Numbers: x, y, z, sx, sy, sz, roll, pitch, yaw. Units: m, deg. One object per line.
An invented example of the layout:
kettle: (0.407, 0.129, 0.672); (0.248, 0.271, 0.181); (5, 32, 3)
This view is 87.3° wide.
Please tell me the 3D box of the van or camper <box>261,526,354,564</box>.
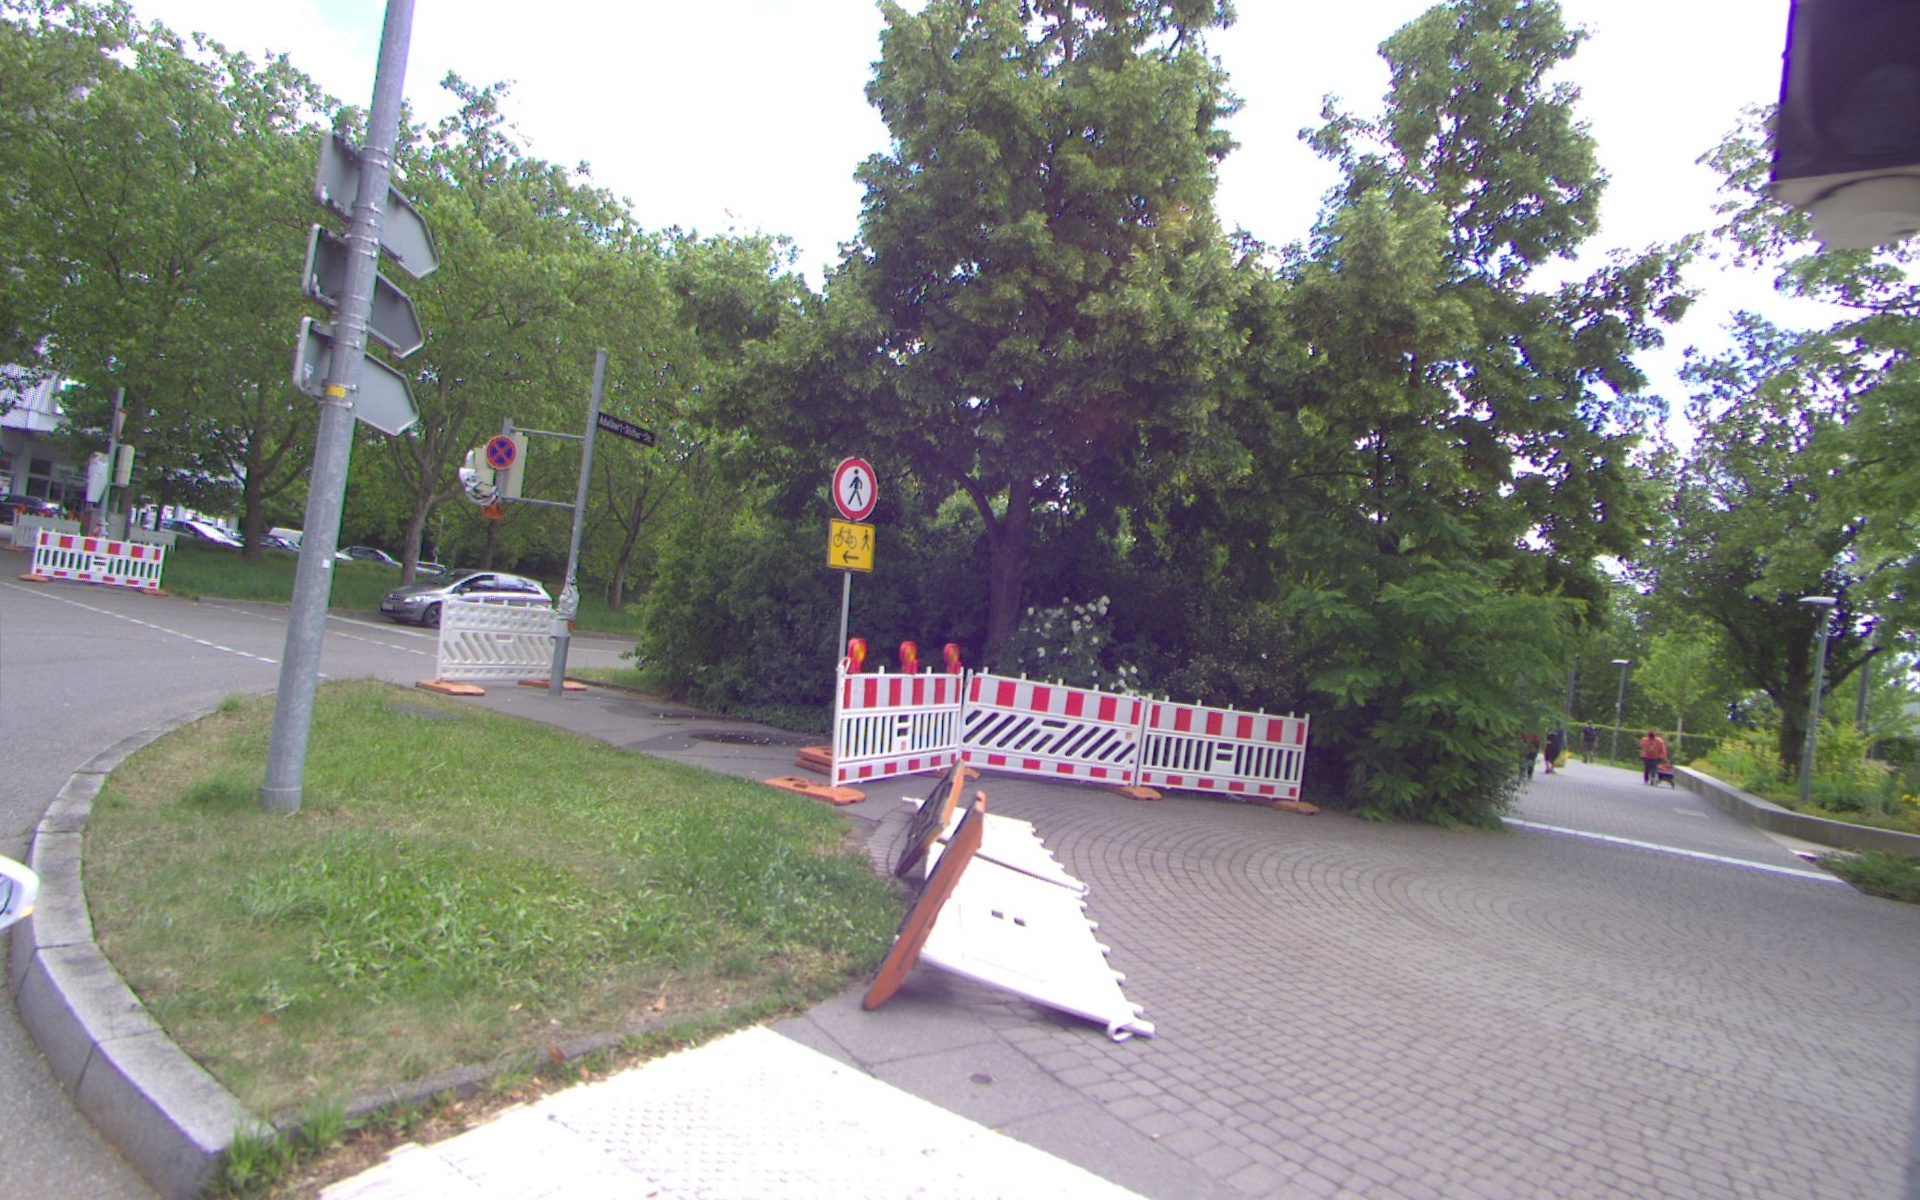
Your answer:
van or camper: (-34.070, -2.879, 52.578); (3.705, 1.372, 1.519); (7, -2, 0)

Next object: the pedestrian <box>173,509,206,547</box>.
pedestrian: (-35.630, -3.325, 46.514); (0.785, 1.604, 0.796); (6, -2, 25)

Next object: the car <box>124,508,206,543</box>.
car: (-44.836, -4.214, 56.787); (3.344, 1.420, 1.486); (7, -2, 3)

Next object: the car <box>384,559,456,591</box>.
car: (-35.357, -1.616, 65.879); (3.673, 1.517, 1.736); (7, -2, 7)

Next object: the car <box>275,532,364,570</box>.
car: (-35.060, -2.670, 55.071); (3.819, 1.482, 1.486); (7, -2, 3)

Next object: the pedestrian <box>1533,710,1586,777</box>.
pedestrian: (16.615, 3.952, 27.922); (0.974, 1.671, 0.871); (7, -1, 23)

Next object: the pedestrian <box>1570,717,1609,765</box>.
pedestrian: (24.374, 5.442, 38.973); (0.974, 1.671, 0.871); (7, -1, 23)

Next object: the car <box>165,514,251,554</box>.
car: (-44.770, -3.924, 59.918); (3.750, 1.653, 1.675); (8, -2, 3)

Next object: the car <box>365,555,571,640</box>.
car: (-12.621, -0.021, 26.089); (1.745, 1.604, 4.403); (6, -3, 34)

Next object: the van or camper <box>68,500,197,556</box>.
van or camper: (-35.060, -3.048, 42.666); (3.924, 1.704, 1.848); (7, -1, 6)

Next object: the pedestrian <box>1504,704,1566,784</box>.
pedestrian: (13.286, 3.307, 23.263); (0.974, 1.671, 0.871); (7, -1, 23)

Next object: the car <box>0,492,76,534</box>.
car: (-44.336, -4.196, 47.283); (4.187, 1.517, 1.736); (7, -2, 7)

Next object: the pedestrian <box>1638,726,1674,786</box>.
pedestrian: (19.295, 4.315, 27.890); (0.625, 1.519, 0.704); (7, -1, 31)
